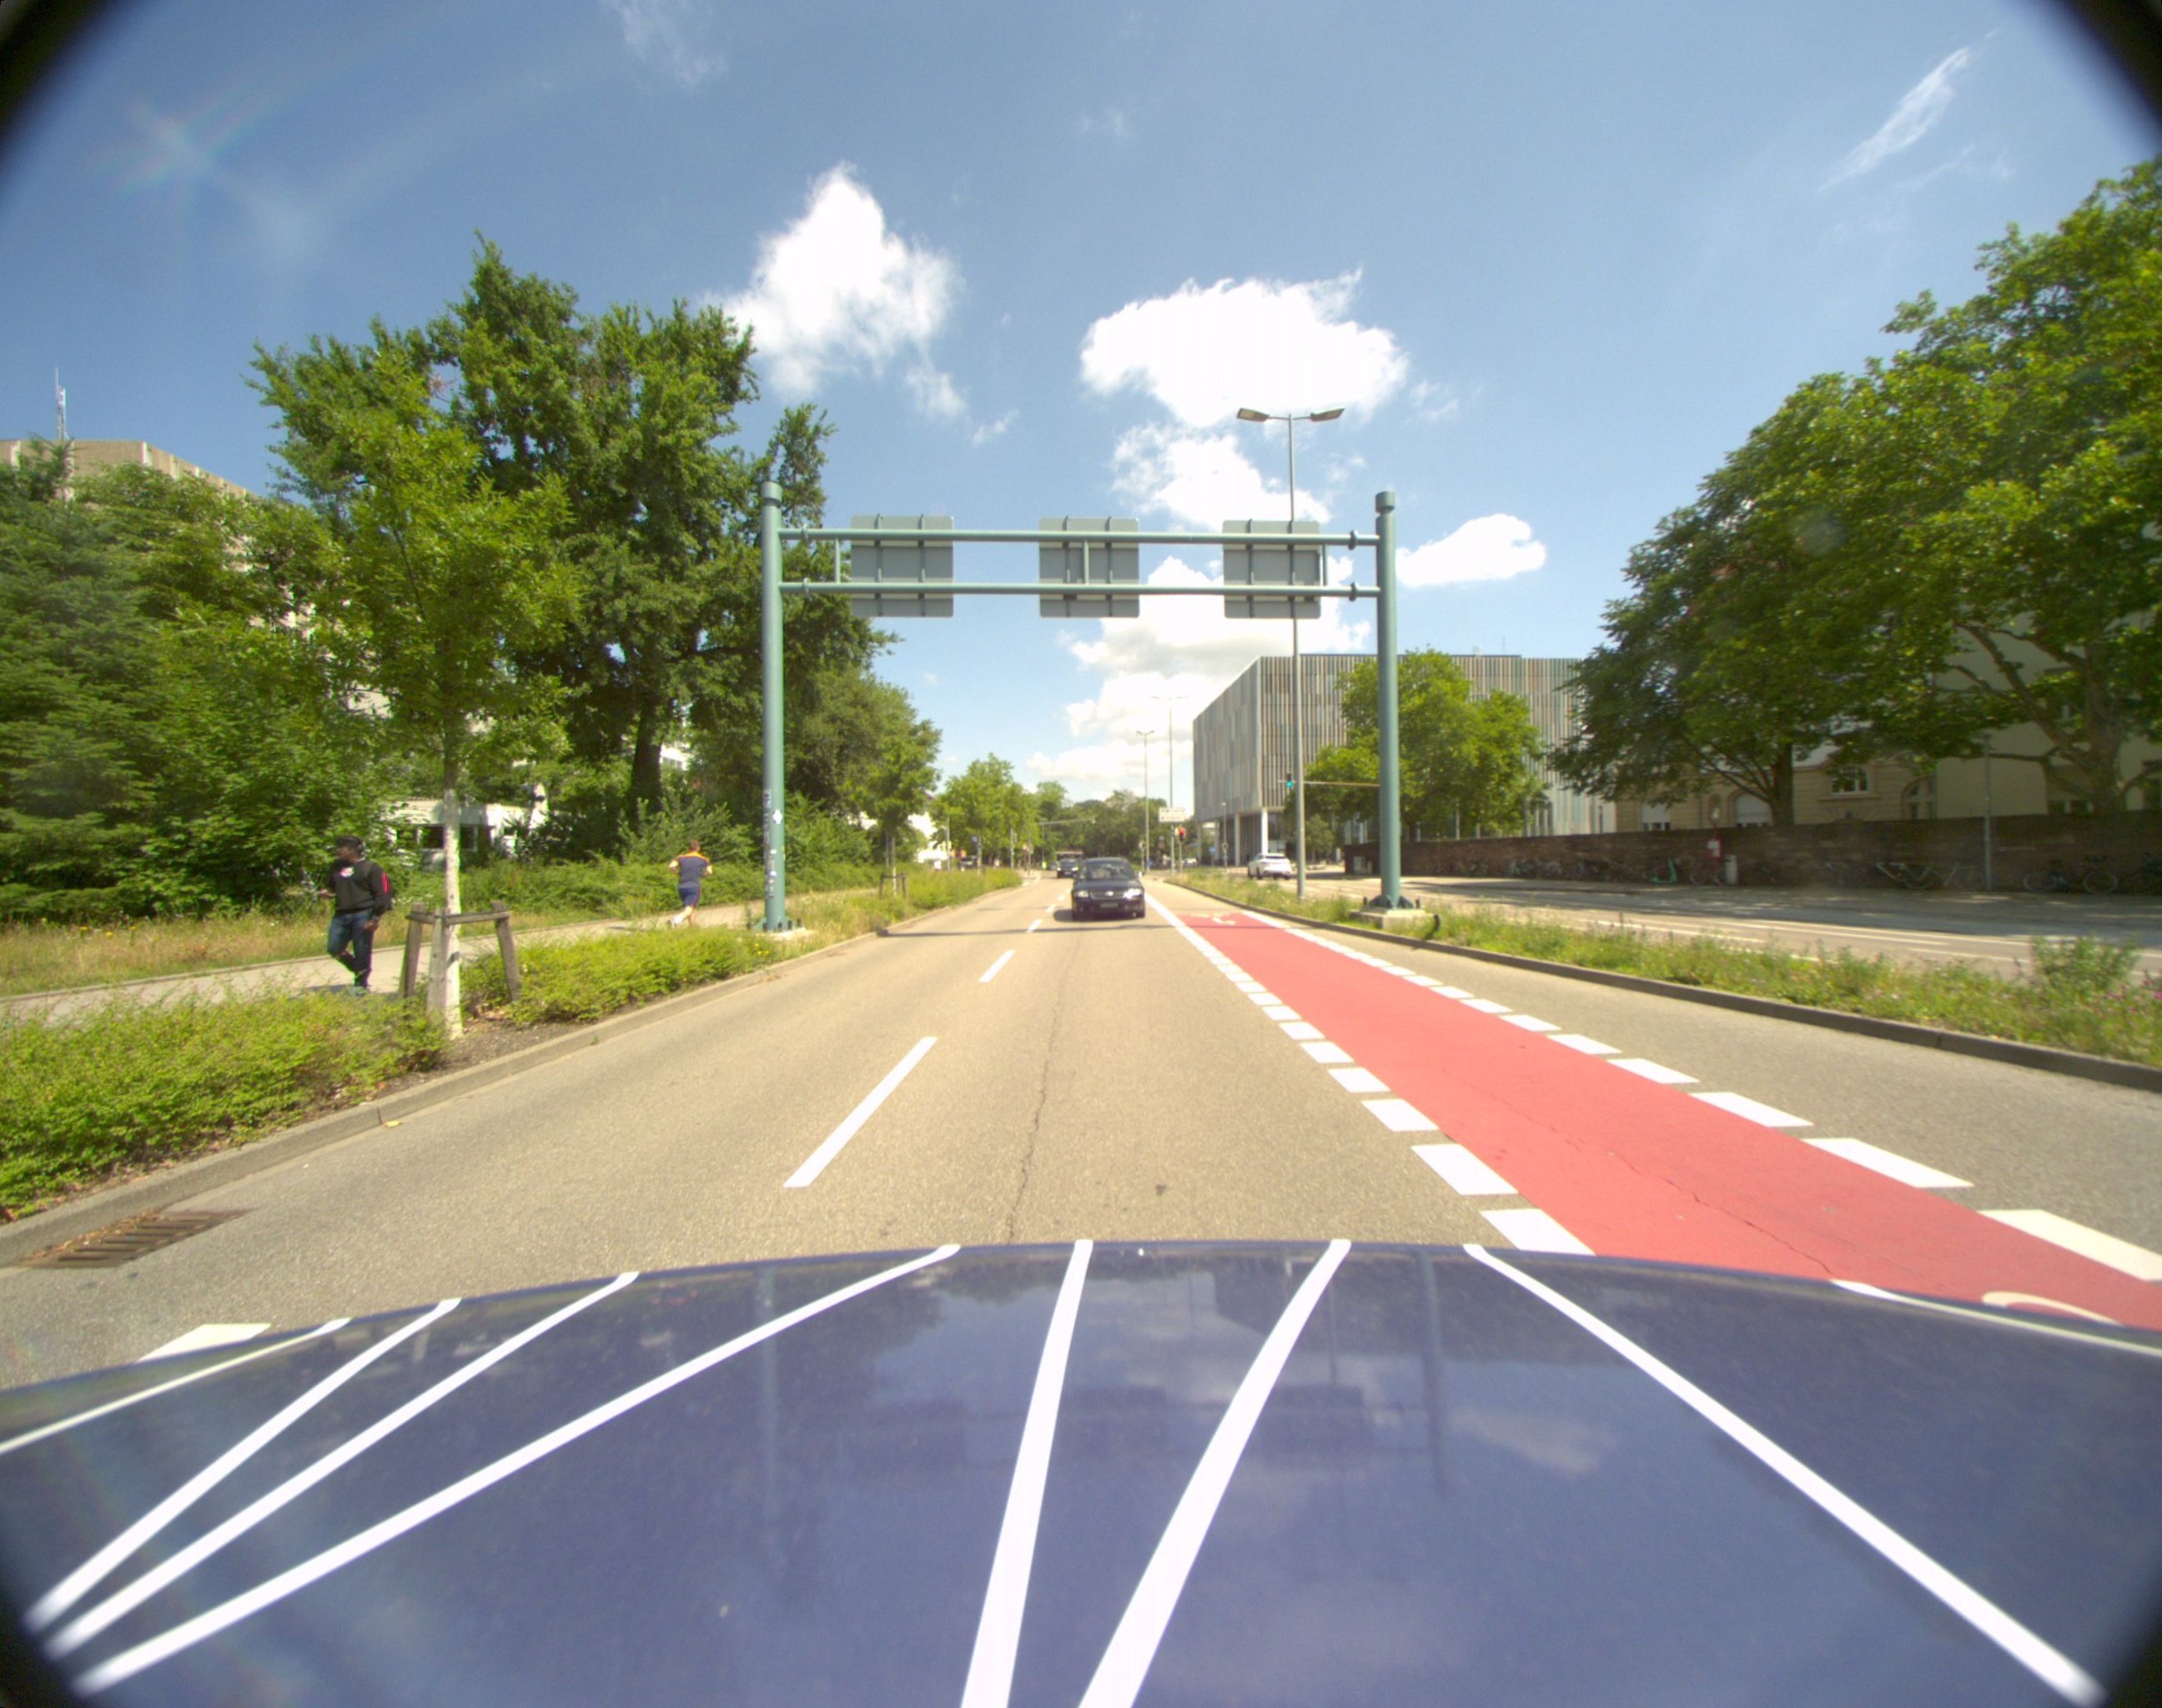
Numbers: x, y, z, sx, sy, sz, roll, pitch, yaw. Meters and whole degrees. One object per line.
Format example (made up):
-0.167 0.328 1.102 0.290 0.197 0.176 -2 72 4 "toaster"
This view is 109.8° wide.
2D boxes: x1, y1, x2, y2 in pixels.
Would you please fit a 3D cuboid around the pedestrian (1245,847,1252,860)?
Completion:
26.866 -0.119 122.183 0.864 2.002 0.995 -1 0 0 "pedestrian"

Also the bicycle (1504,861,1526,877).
22.926 0.799 40.117 0.265 0.826 1.234 -1 0 -11 "bicycle"

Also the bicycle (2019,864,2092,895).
26.643 0.689 20.792 0.265 0.826 1.234 -1 0 -13 "bicycle"

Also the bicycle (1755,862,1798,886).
25.191 0.711 27.538 0.265 0.826 1.235 -1 0 -11 "bicycle"

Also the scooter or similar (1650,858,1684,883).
24.577 0.688 31.869 0.266 1.014 1.140 -1 0 -22 "scooter or similar"

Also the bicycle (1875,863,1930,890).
25.995 0.704 24.060 0.265 0.826 1.235 -1 0 -11 "bicycle"

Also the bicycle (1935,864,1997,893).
26.245 0.725 22.547 0.265 0.826 1.235 -1 0 -11 "bicycle"

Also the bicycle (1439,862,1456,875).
22.493 0.879 46.668 0.265 0.826 1.235 -1 0 -11 "bicycle"

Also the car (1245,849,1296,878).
11.738 0.588 47.319 1.999 1.701 4.512 -1 0 -1 "car"

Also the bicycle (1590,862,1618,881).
24.040 0.787 34.934 0.265 0.826 1.235 -1 0 -11 "bicycle"

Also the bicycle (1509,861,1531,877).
23.362 0.794 40.426 0.265 0.826 1.234 -1 0 -11 "bicycle"

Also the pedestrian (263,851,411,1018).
-7.891 0.816 8.090 0.760 1.674 0.817 -1 0 12 "pedestrian"

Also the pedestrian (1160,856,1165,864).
15.956 1.221 148.848 0.864 1.647 0.995 -1 0 -1 "pedestrian"

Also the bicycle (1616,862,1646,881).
24.150 0.775 33.389 0.265 0.826 1.235 -1 0 -11 "bicycle"

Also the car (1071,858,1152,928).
0.712 0.866 19.099 1.723 1.472 4.594 -3 0 1 "car"

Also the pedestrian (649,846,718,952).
-6.782 0.750 13.000 0.639 1.754 0.887 -1 0 7 "pedestrian"

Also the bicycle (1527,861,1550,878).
23.471 0.791 39.016 0.265 0.826 1.235 -1 0 -11 "bicycle"

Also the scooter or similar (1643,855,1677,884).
23.814 0.626 31.257 0.265 1.182 1.234 -1 0 -11 "scooter or similar"

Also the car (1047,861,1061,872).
-4.326 1.954 122.151 1.816 1.598 4.479 -3 0 1 "car"

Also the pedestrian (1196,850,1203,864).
17.931 0.469 114.681 0.864 2.002 0.995 -1 0 -1 "pedestrian"

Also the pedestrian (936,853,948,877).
-11.892 0.935 64.812 0.846 2.026 0.900 -1 0 -18 "pedestrian"

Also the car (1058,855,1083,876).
-0.840 0.942 63.173 1.816 1.598 4.479 -3 0 1 "car"

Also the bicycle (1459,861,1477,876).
22.810 0.852 44.772 0.265 0.826 1.235 -1 0 -11 "bicycle"

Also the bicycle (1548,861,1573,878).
23.663 0.753 37.502 0.265 0.826 1.235 -1 0 -11 "bicycle"

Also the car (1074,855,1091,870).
0.189 0.935 87.050 1.816 1.598 4.479 -3 0 1 "car"

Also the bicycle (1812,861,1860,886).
25.686 0.663 25.869 0.265 0.826 1.235 -1 0 -11 "bicycle"

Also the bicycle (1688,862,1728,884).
24.821 0.743 30.098 0.265 0.826 1.233 -1 0 -21 "bicycle"

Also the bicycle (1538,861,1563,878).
23.188 0.753 37.544 0.265 0.826 1.234 -1 0 -11 "bicycle"

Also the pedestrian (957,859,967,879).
-9.676 1.199 61.786 0.767 1.601 0.765 -1 0 -4 "pedestrian"

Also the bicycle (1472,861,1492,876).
22.930 0.818 43.448 0.265 0.826 1.234 -1 0 -11 "bicycle"

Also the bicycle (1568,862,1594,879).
23.820 0.784 36.208 0.265 0.826 1.235 -1 0 -11 "bicycle"

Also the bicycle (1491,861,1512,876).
23.155 0.788 41.821 0.265 0.826 1.234 -1 0 -11 "bicycle"

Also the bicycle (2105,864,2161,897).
27.130 0.674 19.365 0.265 0.826 1.234 -1 0 -13 "bicycle"
